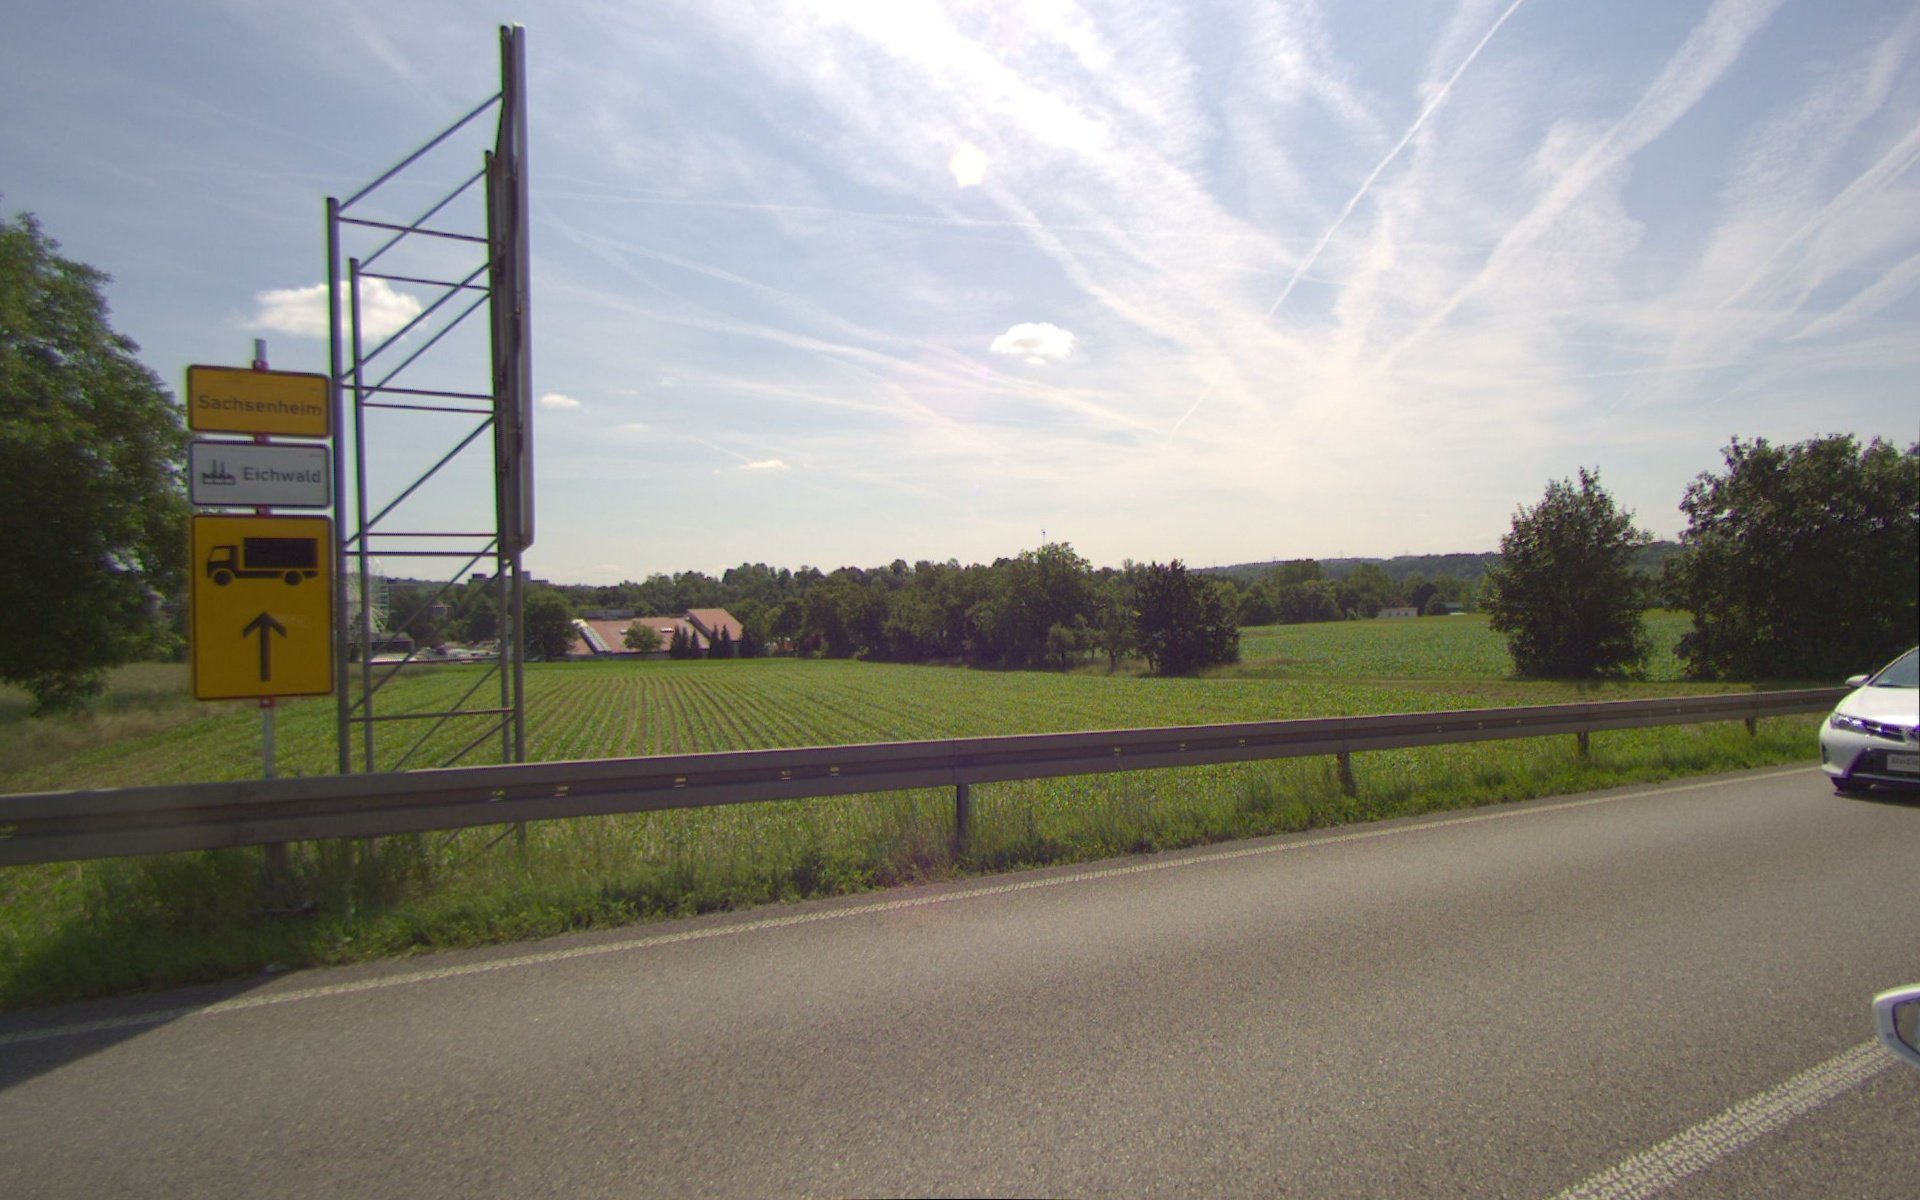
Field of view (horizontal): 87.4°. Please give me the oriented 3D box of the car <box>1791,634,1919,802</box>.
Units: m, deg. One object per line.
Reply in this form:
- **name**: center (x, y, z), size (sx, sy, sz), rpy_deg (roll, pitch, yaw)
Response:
- **car**: center (9.958, 1.062, 9.697), size (3.869, 1.452, 1.723), rpy_deg (1, -4, -30)
